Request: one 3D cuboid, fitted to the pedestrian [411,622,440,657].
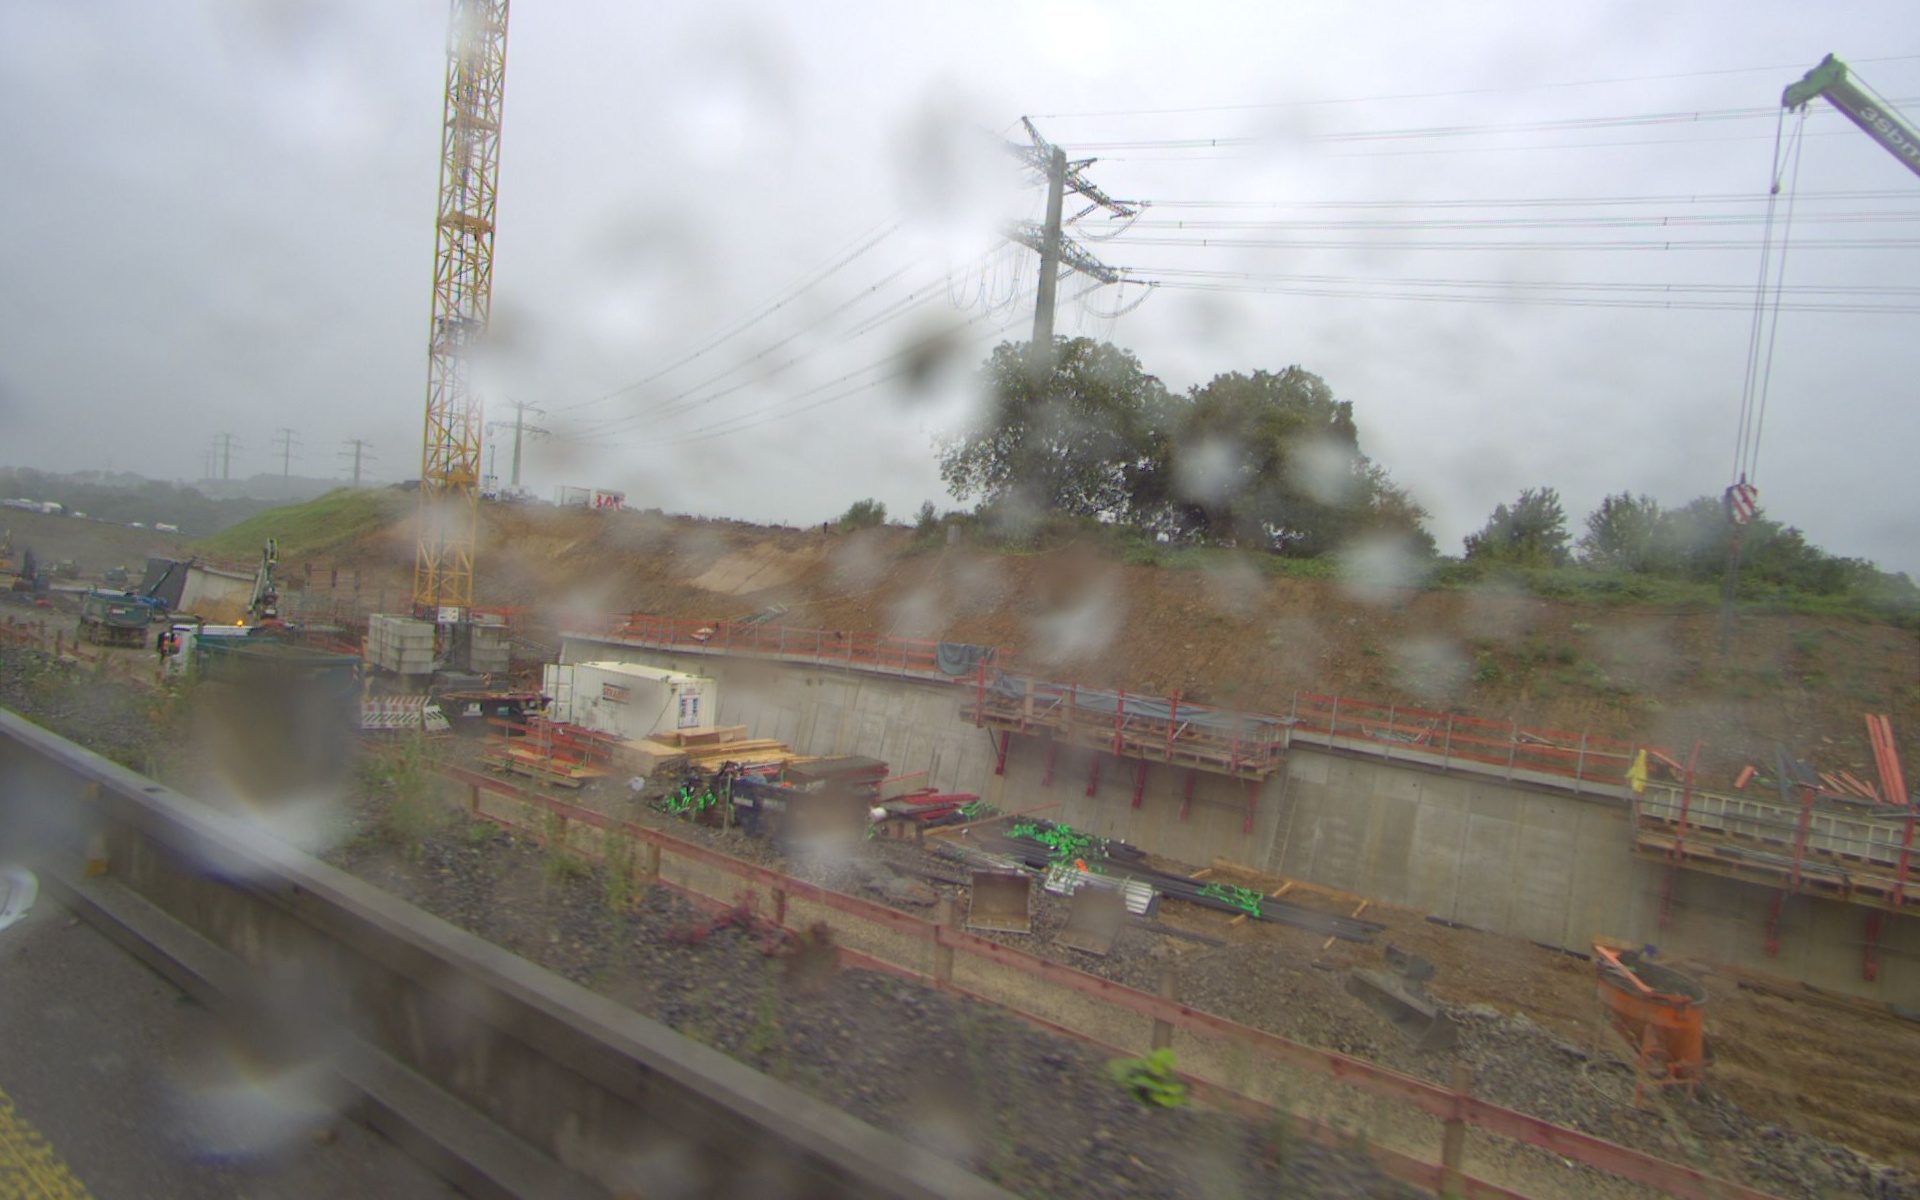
[{"bbox_3d":[-34.213,2.537,64.351,0.886,2.013,0.906,5,-12,41],"label":"pedestrian"}]

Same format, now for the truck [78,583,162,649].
[{"bbox_3d":[-56.757,1.012,67.873,8.939,3.531,2.727,5,-2,41],"label":"truck"}]

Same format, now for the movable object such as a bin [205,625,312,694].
[{"bbox_3d":[-33.040,2.814,47.439,2.923,2.770,3.151,6,-2,36],"label":"movable object such as a bin"}]

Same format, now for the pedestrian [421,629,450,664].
[{"bbox_3d":[-33.076,2.932,63.418,0.886,2.013,0.906,5,-12,41],"label":"pedestrian"}]

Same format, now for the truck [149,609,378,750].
[{"bbox_3d":[-23.832,2.571,34.248,8.797,3.544,2.705,6,-1,30],"label":"truck"}]

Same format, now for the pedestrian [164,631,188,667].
[{"bbox_3d":[-44.921,2.802,57.654,0.721,1.967,0.576,6,-1,8],"label":"pedestrian"}]

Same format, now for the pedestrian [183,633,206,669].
[{"bbox_3d":[-44.040,2.919,57.883,0.724,1.967,0.573,7,-1,-16],"label":"pedestrian"}]

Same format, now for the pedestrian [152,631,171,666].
[{"bbox_3d":[-45.763,2.798,57.668,0.725,1.892,0.572,6,-1,43],"label":"pedestrian"}]
